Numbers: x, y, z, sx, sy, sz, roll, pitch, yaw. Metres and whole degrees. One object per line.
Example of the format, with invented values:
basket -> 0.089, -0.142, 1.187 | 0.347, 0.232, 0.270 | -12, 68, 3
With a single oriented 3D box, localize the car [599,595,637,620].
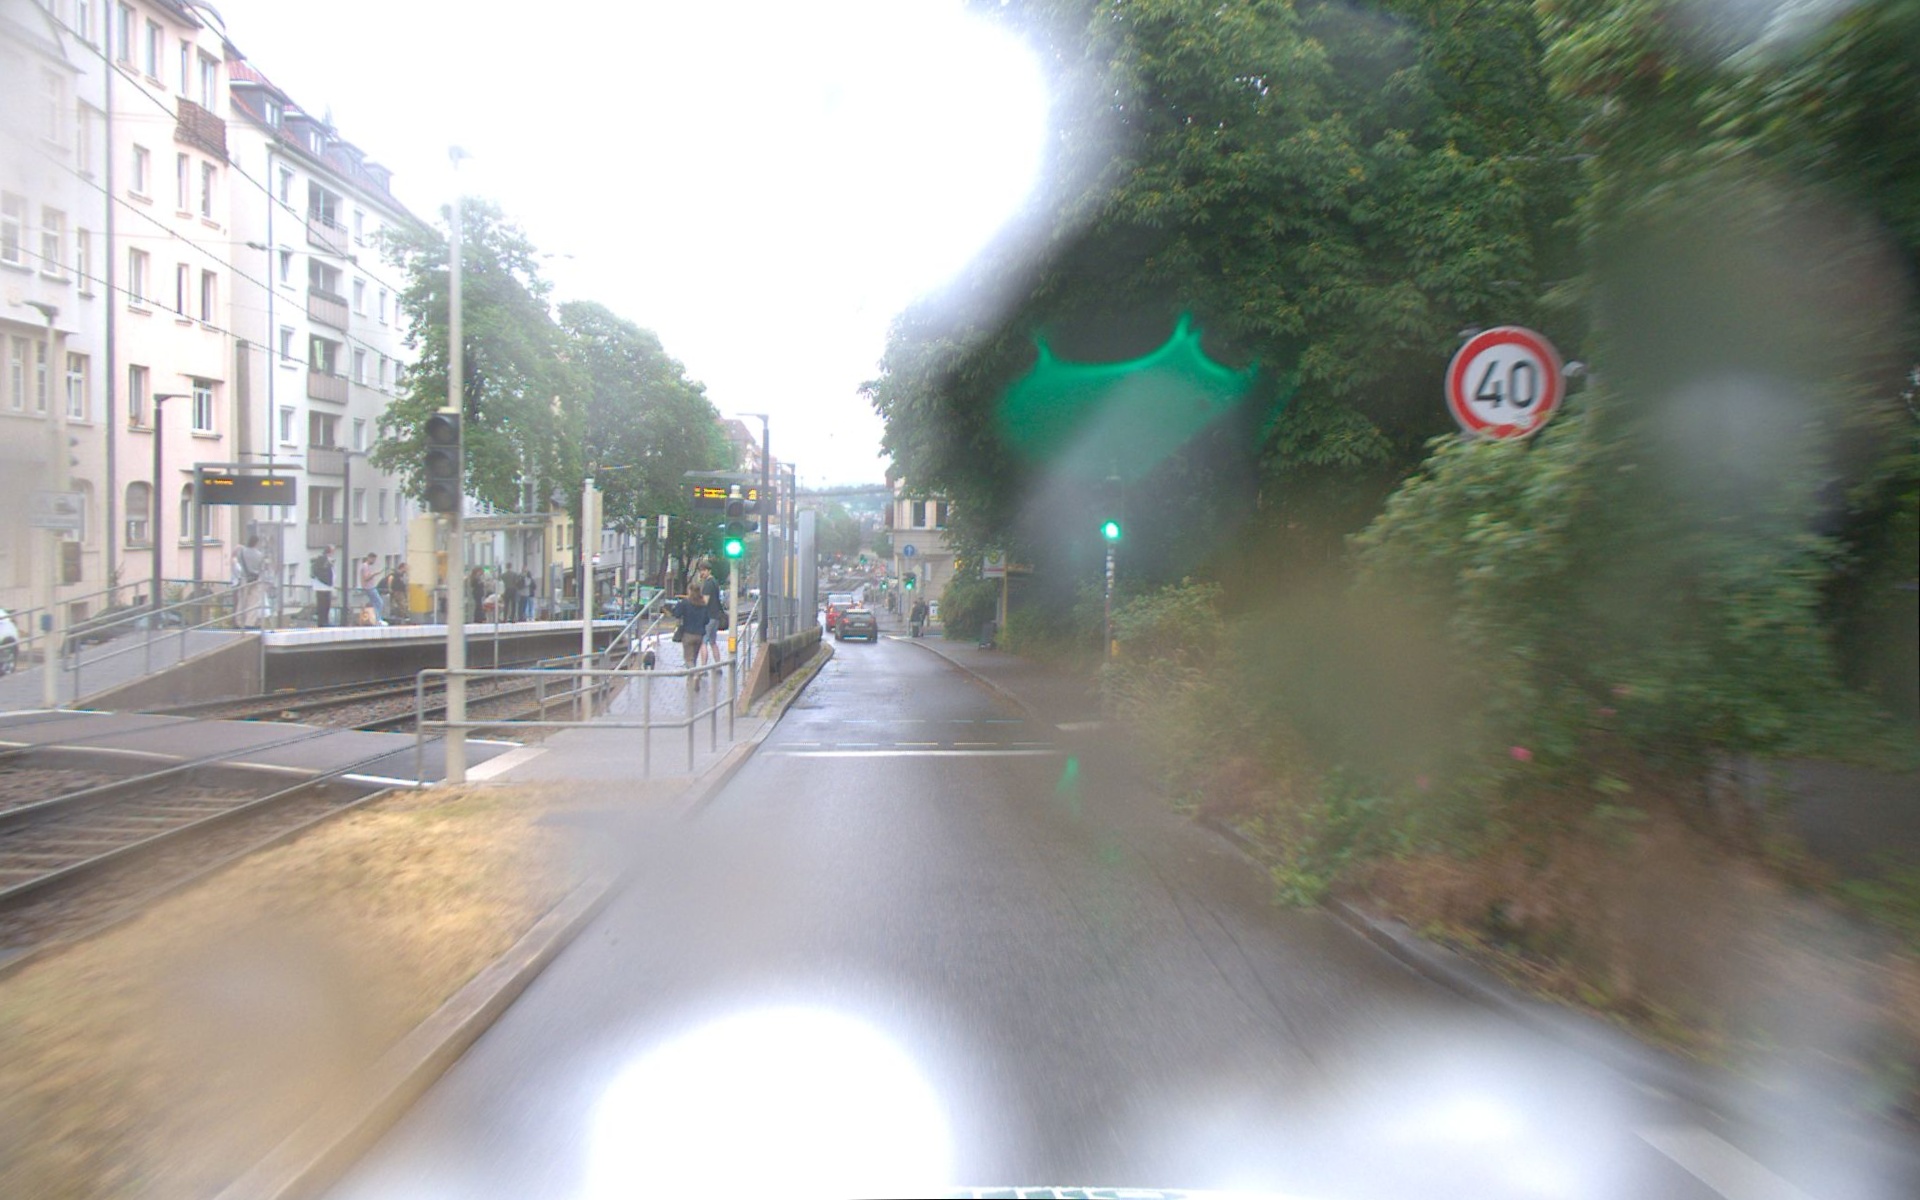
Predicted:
car -> -22.667, 0.500, 109.869 | 1.691, 1.542, 4.494 | -1, 1, -2

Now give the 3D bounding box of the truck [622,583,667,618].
truck -> -22.819, 0.038, 120.029 | 2.009, 2.435, 6.321 | -1, 0, 0

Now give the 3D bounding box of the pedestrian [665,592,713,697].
pedestrian -> -4.184, 0.674, 25.553 | 0.637, 1.589, 0.683 | 0, 0, -3

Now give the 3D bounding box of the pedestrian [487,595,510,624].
pedestrian -> -14.368, 0.305, 51.482 | 0.539, 0.887, 0.613 | -2, 0, -3

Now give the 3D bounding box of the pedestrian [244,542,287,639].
pedestrian -> -13.637, -0.184, 32.496 | 0.550, 1.882, 0.598 | -2, -1, -3

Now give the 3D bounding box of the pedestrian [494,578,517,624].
pedestrian -> -14.391, 0.035, 52.383 | 0.539, 1.438, 0.613 | -2, -1, -3

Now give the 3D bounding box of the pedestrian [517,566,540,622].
pedestrian -> -13.990, -0.192, 53.662 | 0.539, 1.771, 0.613 | -2, -1, -3

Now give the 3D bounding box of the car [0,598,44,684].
car -> -19.449, 0.828, 31.181 | 1.884, 1.650, 4.534 | -2, 0, -1

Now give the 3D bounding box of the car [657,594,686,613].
car -> -23.354, 0.285, 133.933 | 1.738, 1.478, 4.252 | -2, 0, -3

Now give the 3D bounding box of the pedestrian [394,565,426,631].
pedestrian -> -14.433, -0.046, 43.414 | 0.582, 1.695, 0.761 | -2, -1, -3

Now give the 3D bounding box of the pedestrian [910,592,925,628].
pedestrian -> -2.014, 0.465, 78.864 | 0.681, 1.724, 0.555 | 0, 0, -5

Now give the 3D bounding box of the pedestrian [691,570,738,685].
pedestrian -> -3.948, 0.438, 26.628 | 0.637, 1.815, 0.847 | 0, 0, -3

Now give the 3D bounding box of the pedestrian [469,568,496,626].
pedestrian -> -14.203, -0.095, 49.209 | 0.582, 1.695, 0.591 | -2, -1, -3

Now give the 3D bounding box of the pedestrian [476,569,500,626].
pedestrian -> -14.364, -0.083, 50.328 | 0.539, 1.695, 0.613 | -2, -1, -3

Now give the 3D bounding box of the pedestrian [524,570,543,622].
pedestrian -> -14.860, -0.138, 57.681 | 0.473, 1.771, 0.563 | -2, -1, -3

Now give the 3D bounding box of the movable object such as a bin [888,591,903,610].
movable object such as a bin -> -5.881, 0.028, 150.678 | 1.145, 1.684, 1.307 | -2, 1, -7

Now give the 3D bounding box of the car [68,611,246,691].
car -> -19.315, 1.197, 40.062 | 1.953, 1.762, 4.813 | -2, -1, 0

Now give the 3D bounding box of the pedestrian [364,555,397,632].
pedestrian -> -14.318, -0.150, 40.882 | 0.506, 1.870, 0.761 | -2, -1, -3

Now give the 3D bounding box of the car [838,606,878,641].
car -> -4.765, 1.050, 76.945 | 1.815, 1.499, 3.997 | -1, 1, -4

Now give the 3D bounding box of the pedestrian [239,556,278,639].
pedestrian -> -14.014, -0.042, 33.050 | 0.506, 1.633, 0.562 | -2, -1, -3

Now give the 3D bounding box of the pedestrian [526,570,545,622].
pedestrian -> -14.651, -0.149, 57.103 | 0.473, 1.771, 0.563 | -2, -1, -3

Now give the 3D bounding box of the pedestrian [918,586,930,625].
pedestrian -> -1.727, 0.273, 79.511 | 0.543, 1.845, 0.650 | 0, 0, -6

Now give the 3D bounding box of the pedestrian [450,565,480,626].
pedestrian -> -14.022, -0.113, 46.867 | 0.582, 1.695, 0.761 | -2, -1, -3

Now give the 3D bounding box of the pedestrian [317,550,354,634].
pedestrian -> -14.101, -0.176, 37.350 | 0.506, 1.870, 0.761 | -2, -1, -3

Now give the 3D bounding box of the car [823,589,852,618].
car -> -8.048, 0.223, 108.631 | 1.910, 1.824, 4.140 | 0, 0, -5

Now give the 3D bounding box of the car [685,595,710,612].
car -> -24.214, 0.298, 152.588 | 1.738, 1.514, 4.253 | -2, 0, -2

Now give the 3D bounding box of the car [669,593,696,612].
car -> -23.695, 0.210, 141.168 | 1.738, 1.573, 4.252 | -2, 0, -3
